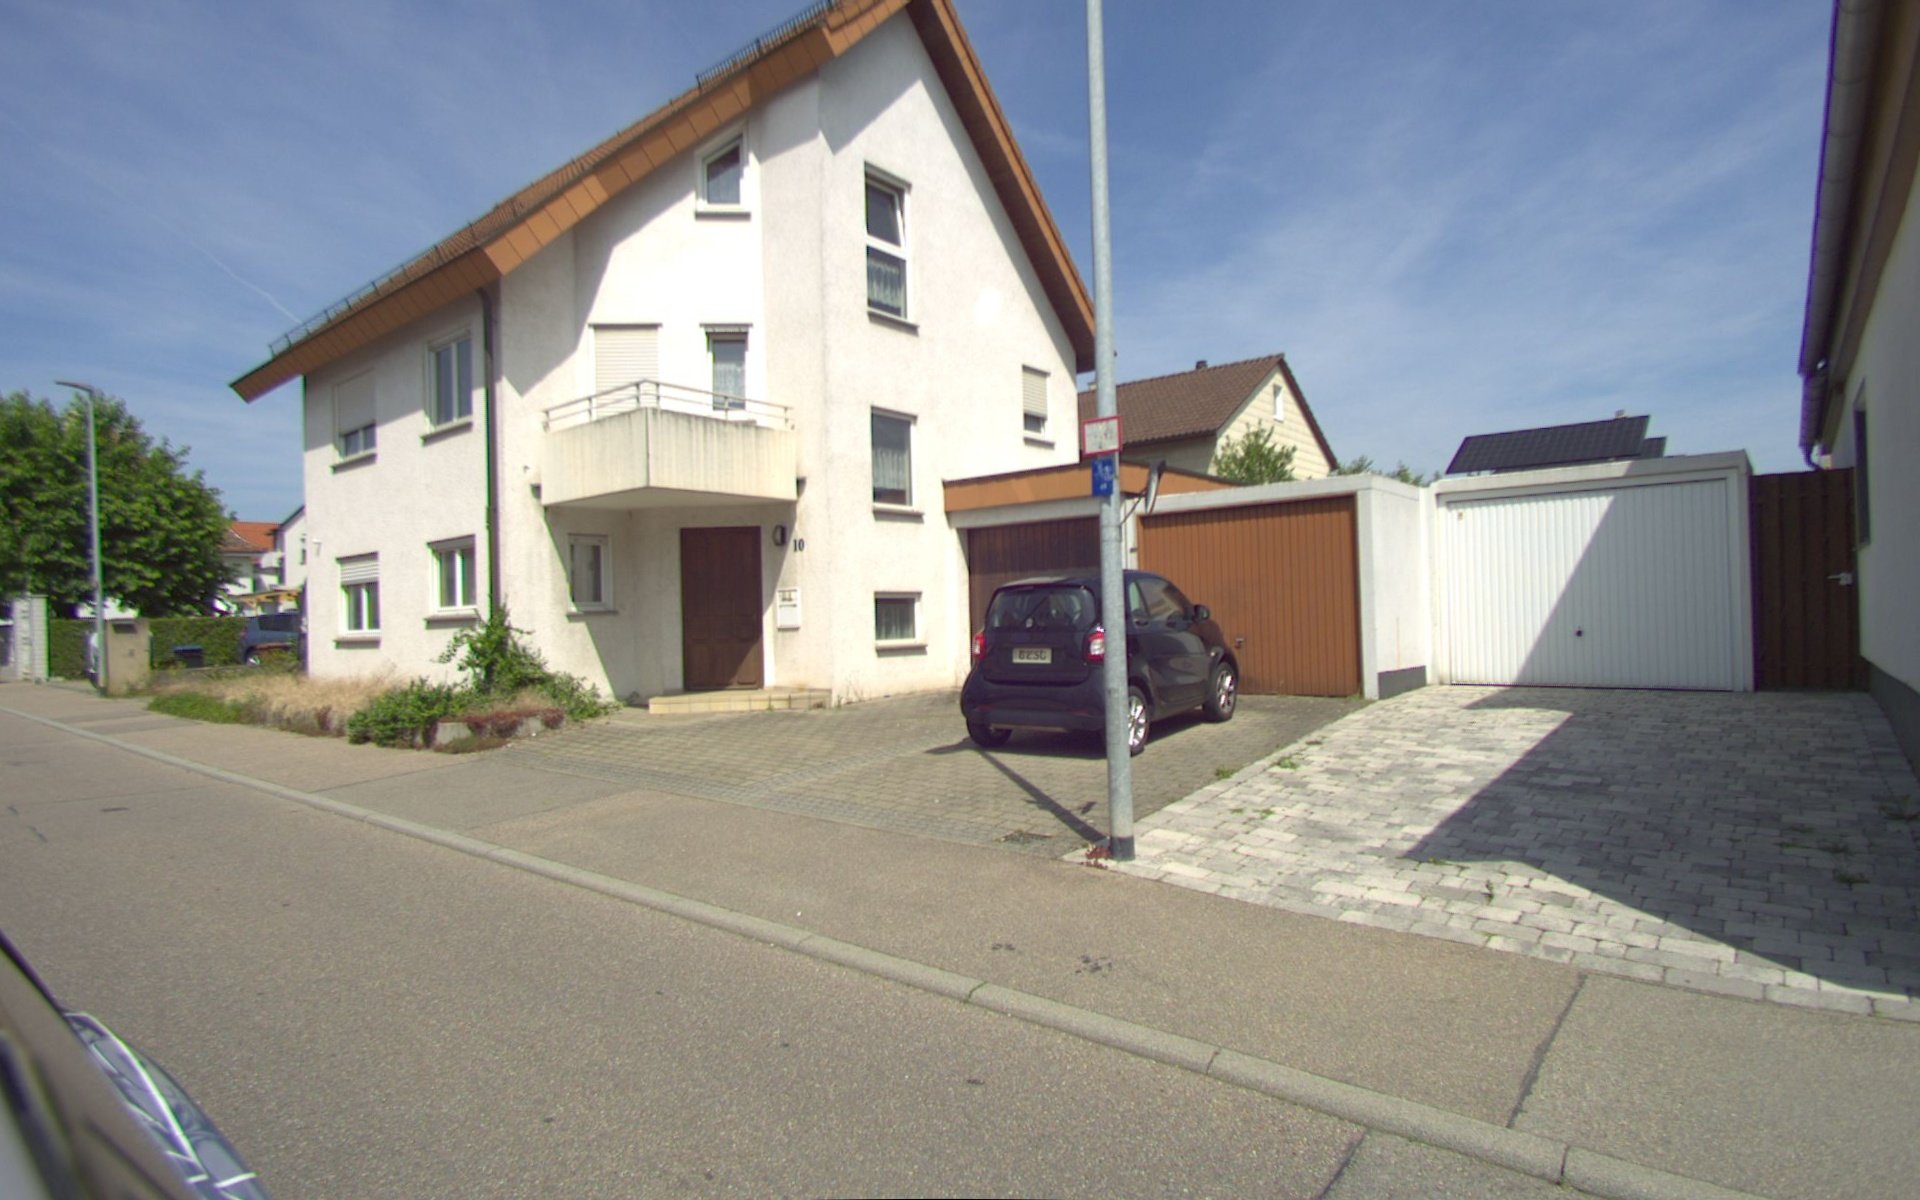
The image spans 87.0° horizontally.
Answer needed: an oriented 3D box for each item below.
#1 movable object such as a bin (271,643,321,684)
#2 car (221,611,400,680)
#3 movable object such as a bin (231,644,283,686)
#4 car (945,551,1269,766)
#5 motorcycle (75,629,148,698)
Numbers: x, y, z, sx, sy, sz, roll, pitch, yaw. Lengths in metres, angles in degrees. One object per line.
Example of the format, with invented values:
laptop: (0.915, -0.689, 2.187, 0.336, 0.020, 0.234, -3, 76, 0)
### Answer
movable object such as a bin: (-15.645, 1.475, 23.852, 0.772, 0.912, 0.792, -2, -1, 38)
car: (-16.949, 1.172, 26.452, 3.901, 1.691, 1.766, -1, -1, 14)
movable object such as a bin: (-16.132, 1.477, 23.214, 0.772, 0.912, 0.792, -2, -1, 38)
car: (1.517, 0.425, 9.682, 1.712, 1.588, 3.082, -2, 3, 38)
motorcycle: (-18.439, 1.350, 21.978, 2.350, 1.403, 0.776, -2, -1, 39)
